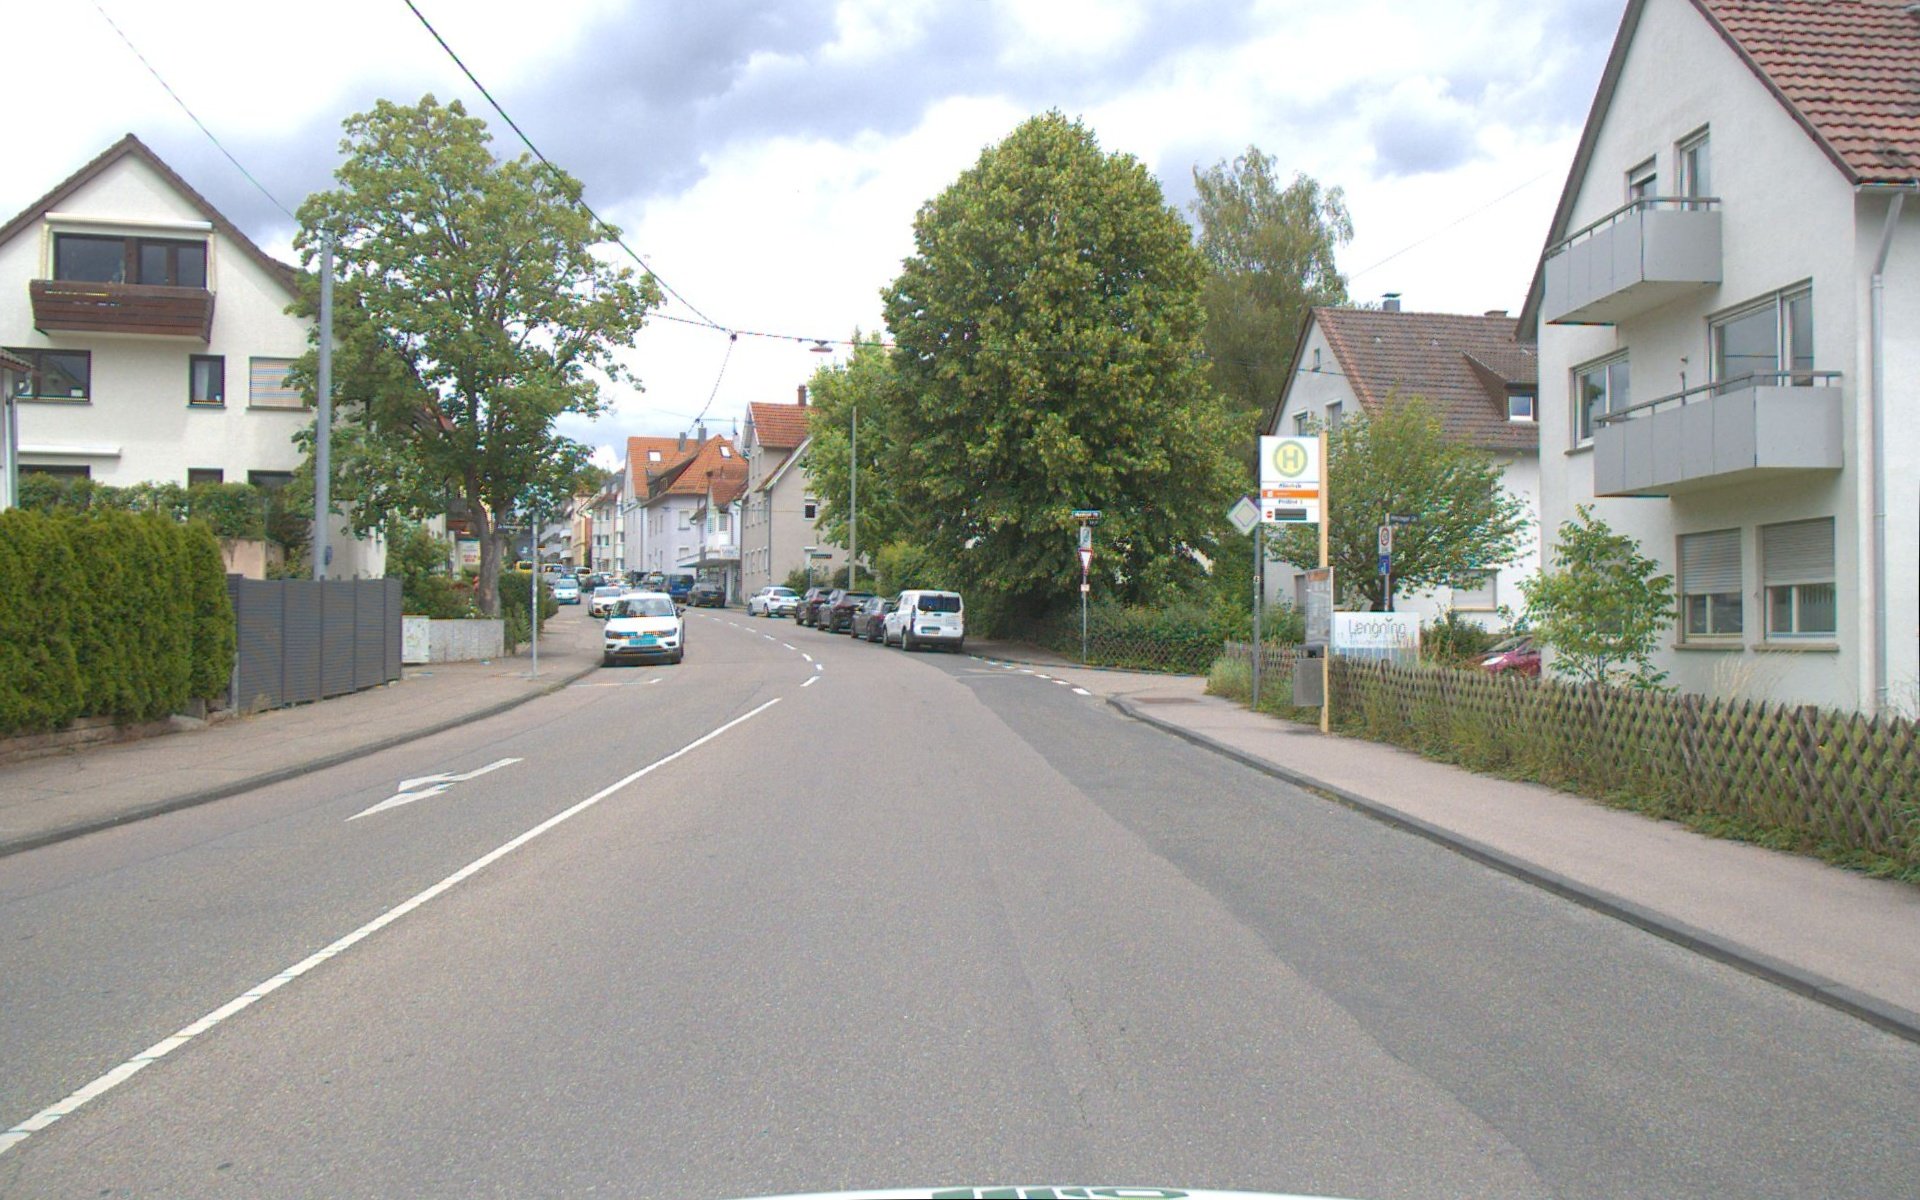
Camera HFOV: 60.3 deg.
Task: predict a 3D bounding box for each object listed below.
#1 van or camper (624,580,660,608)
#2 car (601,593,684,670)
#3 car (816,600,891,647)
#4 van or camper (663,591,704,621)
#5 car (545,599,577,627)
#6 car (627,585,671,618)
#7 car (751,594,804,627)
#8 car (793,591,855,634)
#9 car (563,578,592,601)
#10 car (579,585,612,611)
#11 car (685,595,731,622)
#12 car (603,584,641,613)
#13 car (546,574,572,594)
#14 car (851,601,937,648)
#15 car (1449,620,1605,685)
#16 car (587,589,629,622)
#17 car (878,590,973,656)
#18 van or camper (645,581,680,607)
[{"bbox_3d":[-25.481,-0.490,132.577,1.963,2.101,5.912,3,0,-19],"label":"van or camper"},{"bbox_3d":[-7.785,0.727,40.859,1.815,1.744,4.565,-1,0,-9],"label":"car"},{"bbox_3d":[-4.052,0.854,62.182,1.960,1.643,4.522,2,-1,-15],"label":"car"},{"bbox_3d":[-19.077,0.400,113.983,1.898,1.959,4.803,1,0,-20],"label":"van or camper"},{"bbox_3d":[-25.094,0.818,104.067,1.802,1.605,4.019,-3,1,-12],"label":"car"},{"bbox_3d":[-20.212,0.067,107.405,2.120,2.049,3.977,2,0,-20],"label":"car"},{"bbox_3d":[-8.808,0.474,79.654,1.909,1.464,3.984,1,0,-15],"label":"car"},{"bbox_3d":[-5.633,0.483,67.953,1.780,1.643,4.522,2,-1,-14],"label":"car"},{"bbox_3d":[-36.232,-1.016,156.592,2.120,2.049,3.977,2,0,-20],"label":"car"},{"bbox_3d":[-30.384,-0.167,137.769,2.120,2.049,3.977,2,0,-20],"label":"car"},{"bbox_3d":[-15.758,0.529,103.307,1.963,1.544,4.865,2,0,-19],"label":"car"},{"bbox_3d":[-24.979,-0.121,122.097,2.120,2.049,3.977,2,0,-20],"label":"car"},{"bbox_3d":[-41.717,-1.658,171.949,2.120,2.049,3.977,2,0,-20],"label":"car"},{"bbox_3d":[-2.261,0.802,55.606,1.960,1.504,4.602,0,0,-15],"label":"car"},{"bbox_3d":[15.055,1.402,43.944,3.640,1.591,1.679,2,-2,-18],"label":"car"},{"bbox_3d":[-17.126,0.253,80.402,1.698,1.483,3.881,-1,0,-17],"label":"car"},{"bbox_3d":[-1.097,0.674,50.467,1.808,1.805,4.299,3,0,-16],"label":"car"},{"bbox_3d":[-22.631,-0.472,125.586,1.843,1.860,4.654,3,0,-19],"label":"van or camper"}]
